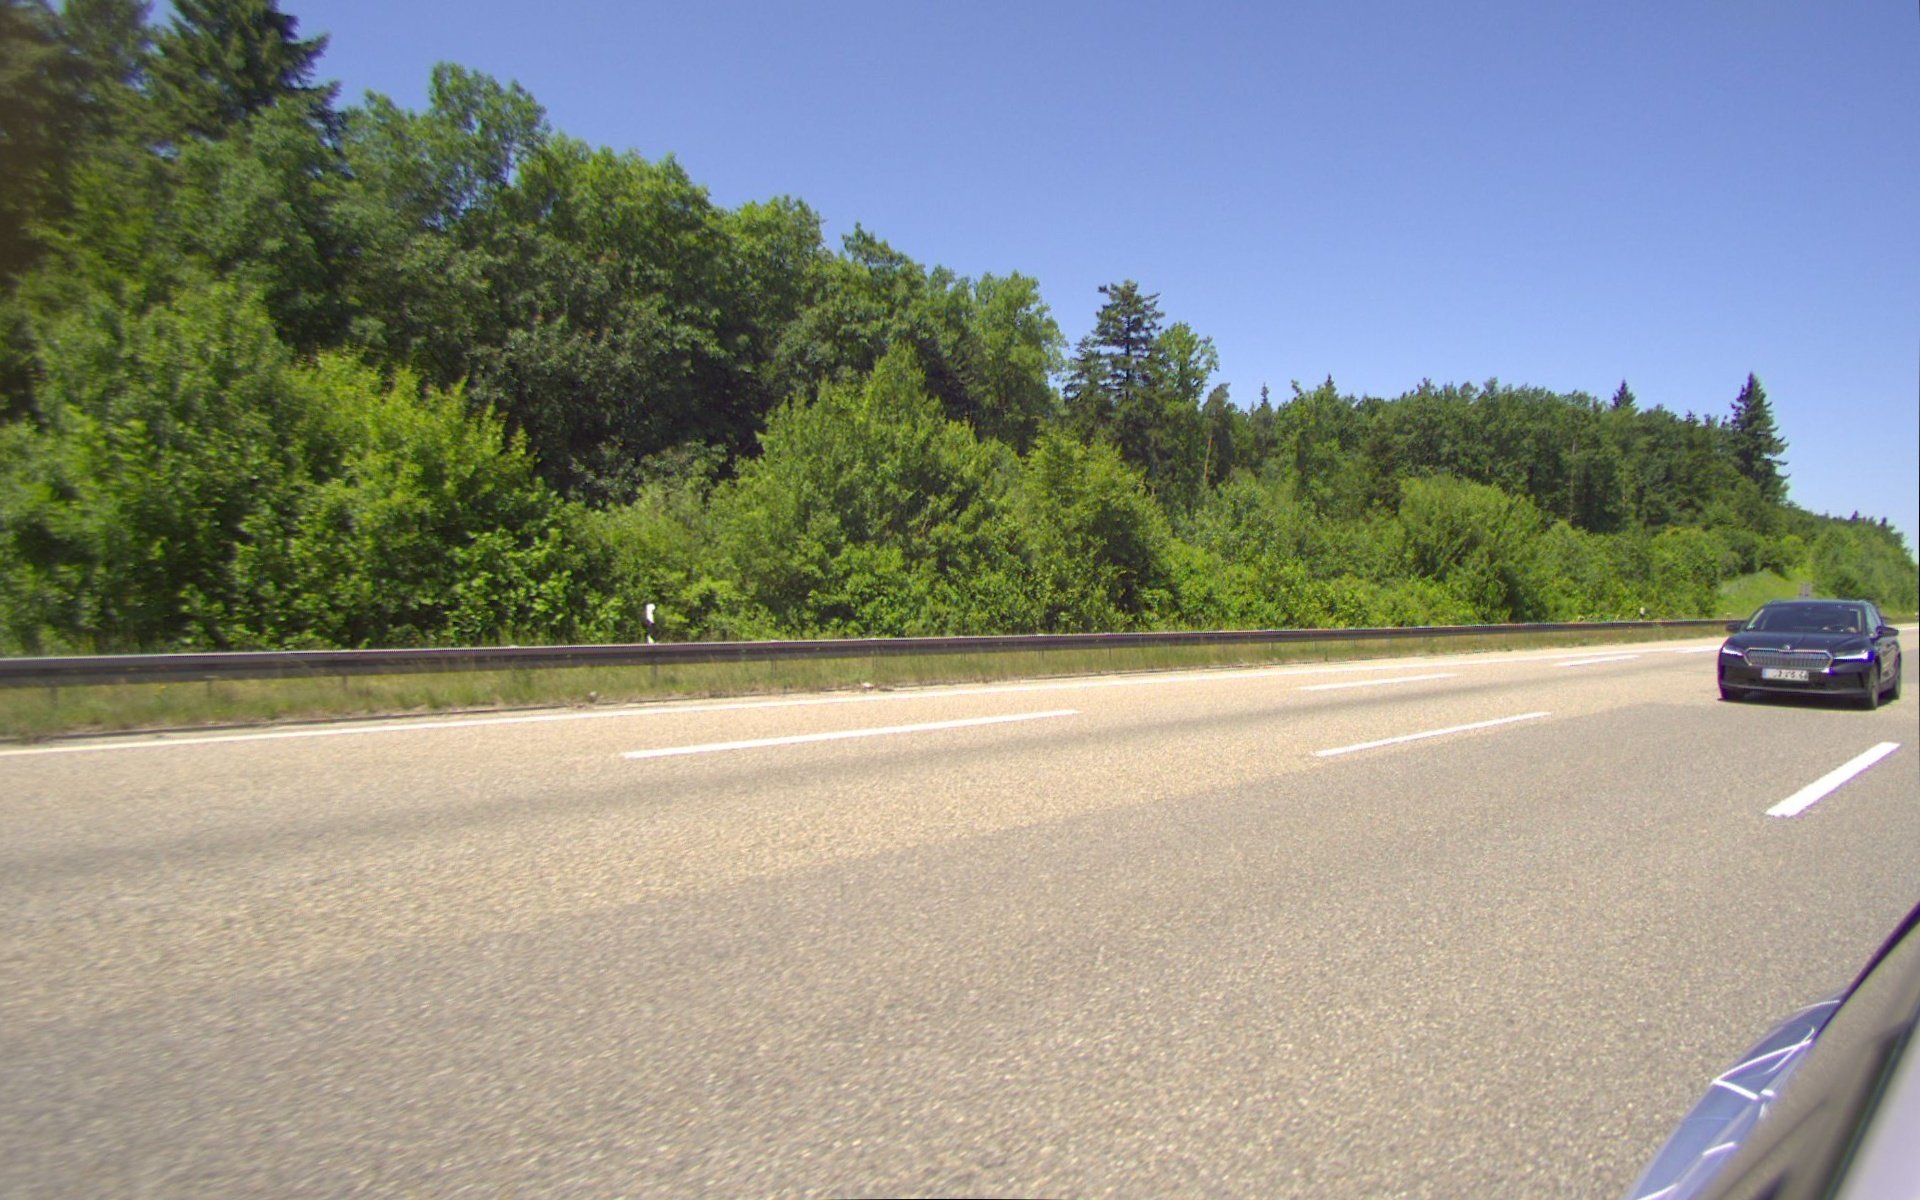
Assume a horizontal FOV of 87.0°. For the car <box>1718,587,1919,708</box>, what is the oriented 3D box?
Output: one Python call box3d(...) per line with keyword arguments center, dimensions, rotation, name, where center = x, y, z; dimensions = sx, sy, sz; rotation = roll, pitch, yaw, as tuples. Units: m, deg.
box3d(center=(13.904, 0.634, 16.117), dimensions=(4.378, 1.639, 1.989), rotation=(-1, 1, -40), name="car")
